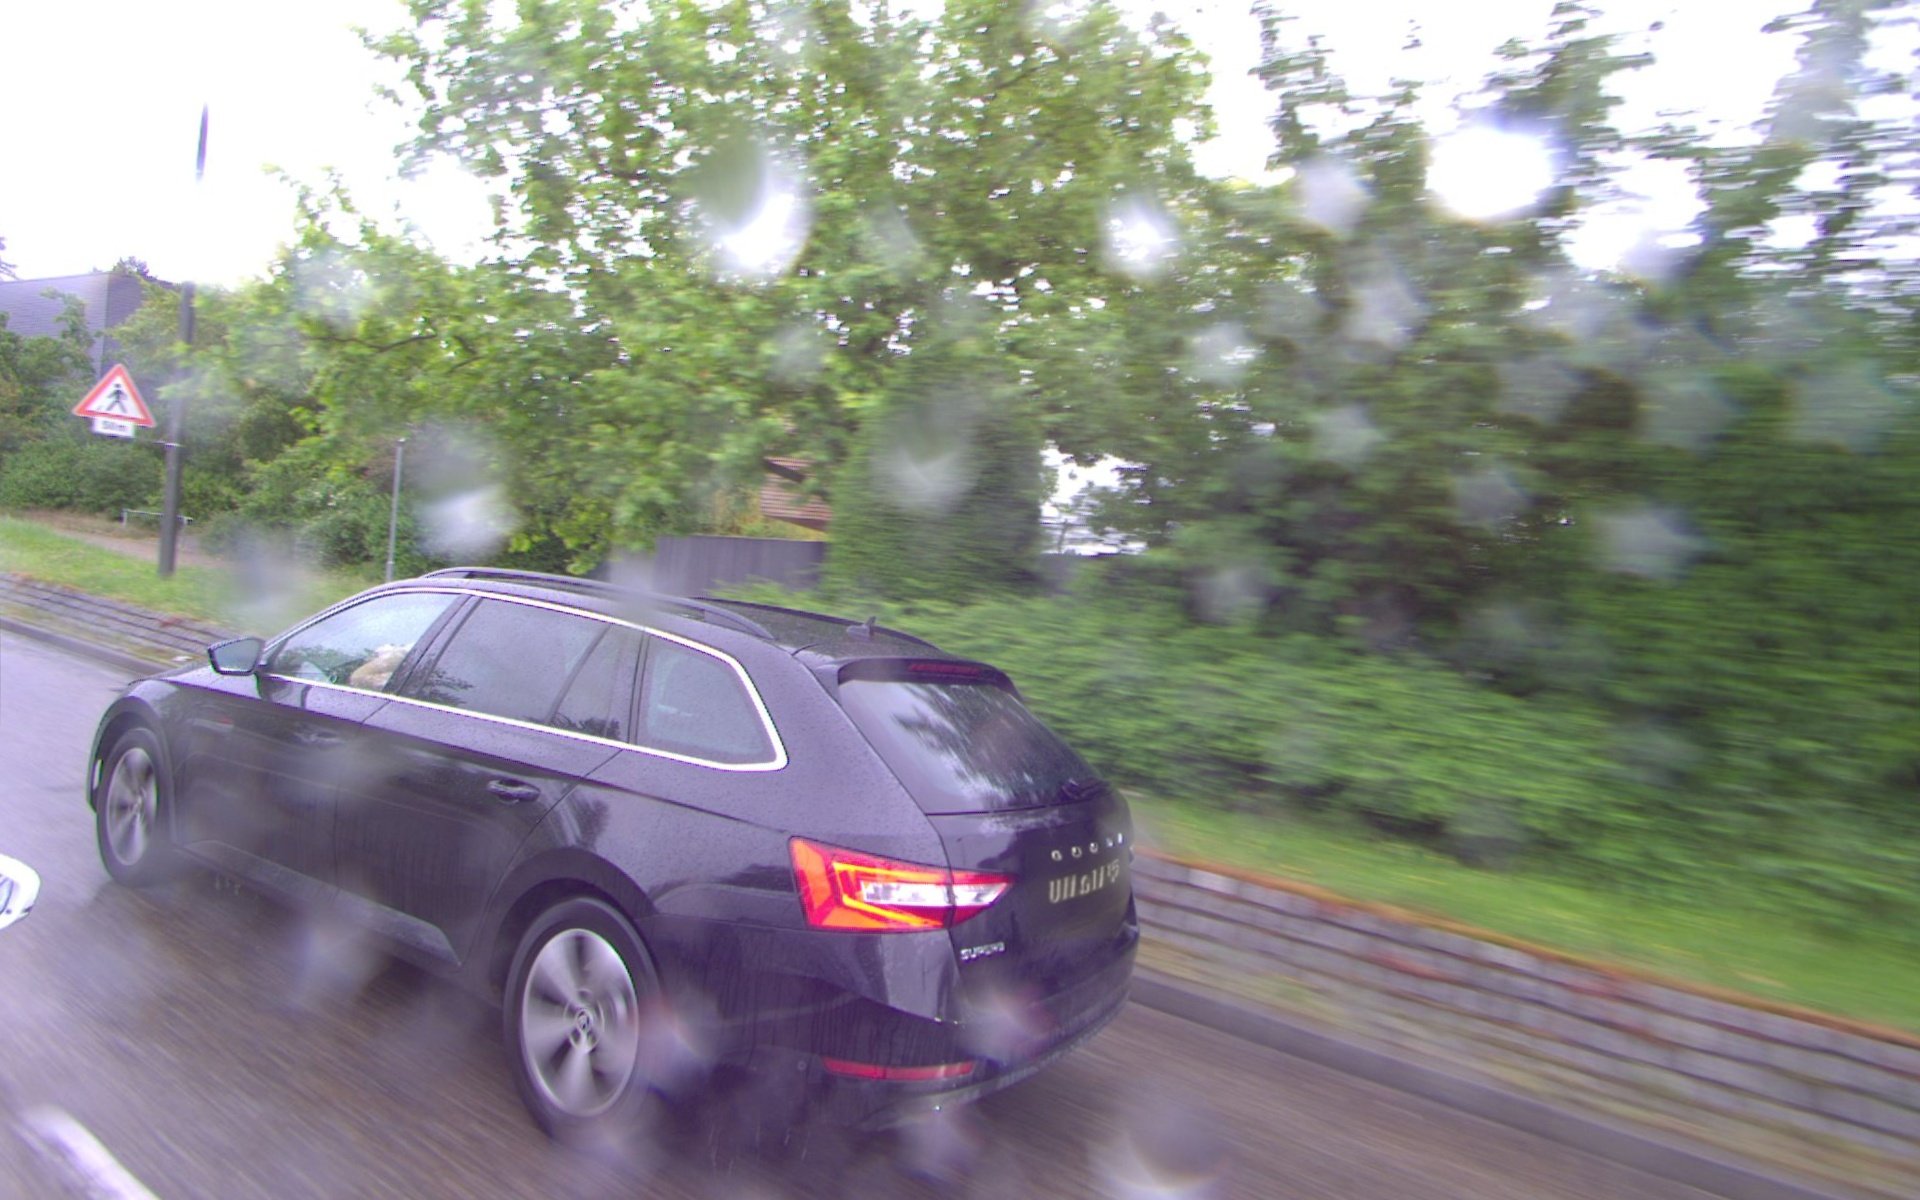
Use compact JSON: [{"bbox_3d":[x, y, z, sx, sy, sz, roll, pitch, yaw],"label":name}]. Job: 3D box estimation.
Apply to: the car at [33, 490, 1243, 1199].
[{"bbox_3d":[-1.470,0.585,4.011,4.532,1.523,1.959,6,-4,31],"label":"car"}]
